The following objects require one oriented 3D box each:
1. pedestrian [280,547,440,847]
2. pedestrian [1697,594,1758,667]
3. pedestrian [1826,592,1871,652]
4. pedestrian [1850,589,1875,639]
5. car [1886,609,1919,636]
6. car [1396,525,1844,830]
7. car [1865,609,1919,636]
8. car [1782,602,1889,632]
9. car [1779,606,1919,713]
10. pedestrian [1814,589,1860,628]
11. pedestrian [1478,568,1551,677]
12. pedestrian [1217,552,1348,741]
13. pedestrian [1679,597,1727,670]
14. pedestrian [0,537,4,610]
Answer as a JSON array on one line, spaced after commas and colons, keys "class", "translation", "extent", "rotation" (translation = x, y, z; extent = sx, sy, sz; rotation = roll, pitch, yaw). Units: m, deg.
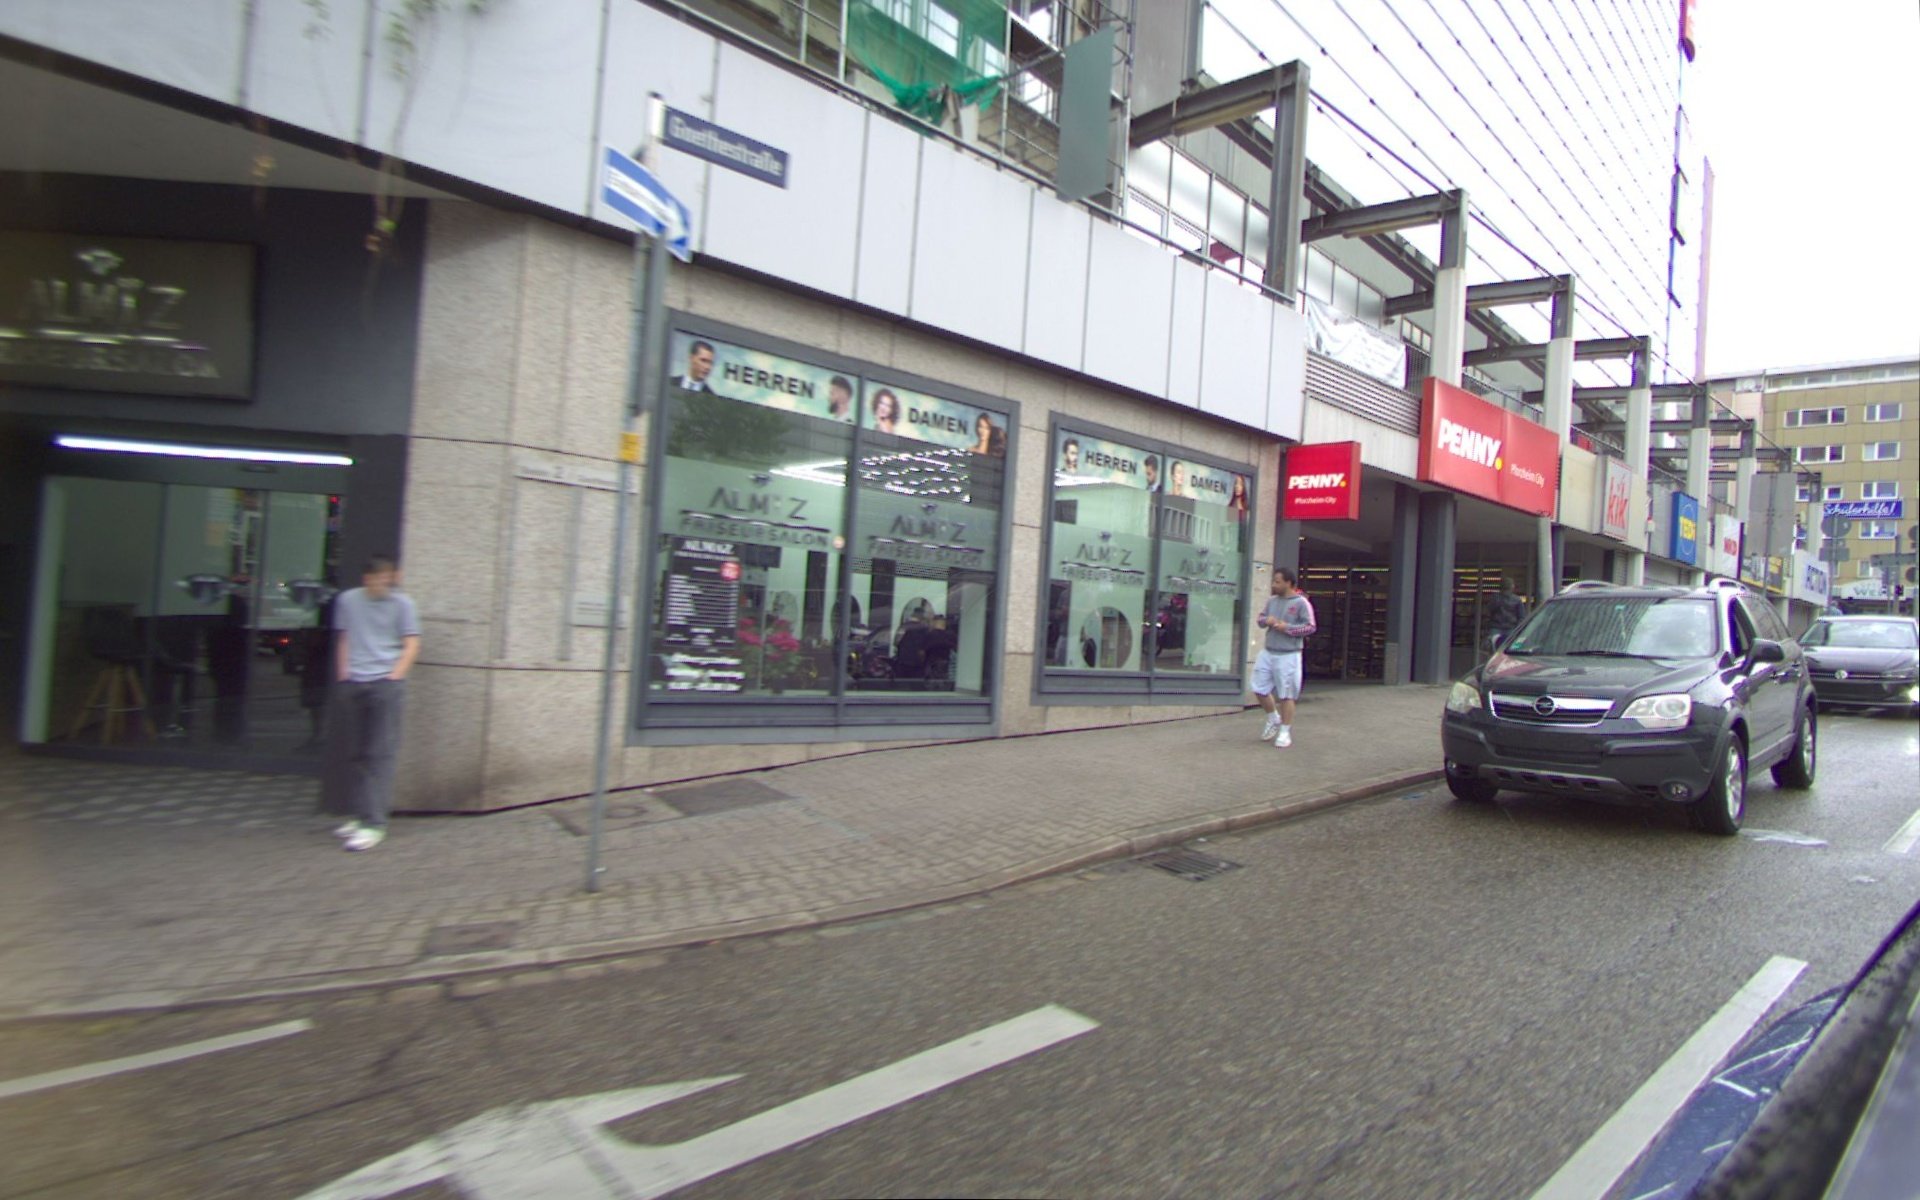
[{"class": "pedestrian", "translation": [-3.538, 0.535, 6.008], "extent": [0.552, 1.670, 0.643], "rotation": [2, 2, 0]}, {"class": "pedestrian", "translation": [16.136, 0.633, 21.276], "extent": [0.690, 1.485, 0.775], "rotation": [2, 1, -33]}, {"class": "pedestrian", "translation": [26.825, 0.661, 30.564], "extent": [0.605, 1.744, 0.839], "rotation": [2, 1, -33]}, {"class": "pedestrian", "translation": [34.676, 0.547, 38.883], "extent": [0.995, 1.863, 0.600], "rotation": [3, 0, -44]}, {"class": "car", "translation": [59.495, 1.477, 61.718], "extent": [1.812, 1.571, 4.095], "rotation": [2, 3, -36]}, {"class": "car", "translation": [5.458, 0.558, 8.157], "extent": [4.226, 1.809, 1.909], "rotation": [2, -4, -41]}, {"class": "car", "translation": [61.591, 1.481, 65.512], "extent": [1.823, 1.570, 4.389], "rotation": [1, 1, -44]}, {"class": "car", "translation": [51.398, 0.977, 59.487], "extent": [1.768, 1.433, 4.620], "rotation": [3, 0, -44]}, {"class": "car", "translation": [13.986, 0.868, 15.392], "extent": [3.813, 1.449, 1.740], "rotation": [2, -3, -42]}, {"class": "pedestrian", "translation": [38.721, 0.362, 44.700], "extent": [1.042, 1.550, 1.024], "rotation": [5, 3, 10]}, {"class": "pedestrian", "translation": [9.161, 0.356, 16.746], "extent": [0.657, 1.736, 0.819], "rotation": [2, 1, -4]}, {"class": "pedestrian", "translation": [3.160, 0.426, 9.935], "extent": [0.813, 1.744, 0.839], "rotation": [2, 1, -33]}, {"class": "pedestrian", "translation": [14.871, 0.661, 20.258], "extent": [0.638, 1.394, 0.693], "rotation": [3, 1, 44]}, {"class": "pedestrian", "translation": [-6.231, 0.436, 5.965], "extent": [0.563, 1.683, 0.601], "rotation": [2, -1, -9]}]
